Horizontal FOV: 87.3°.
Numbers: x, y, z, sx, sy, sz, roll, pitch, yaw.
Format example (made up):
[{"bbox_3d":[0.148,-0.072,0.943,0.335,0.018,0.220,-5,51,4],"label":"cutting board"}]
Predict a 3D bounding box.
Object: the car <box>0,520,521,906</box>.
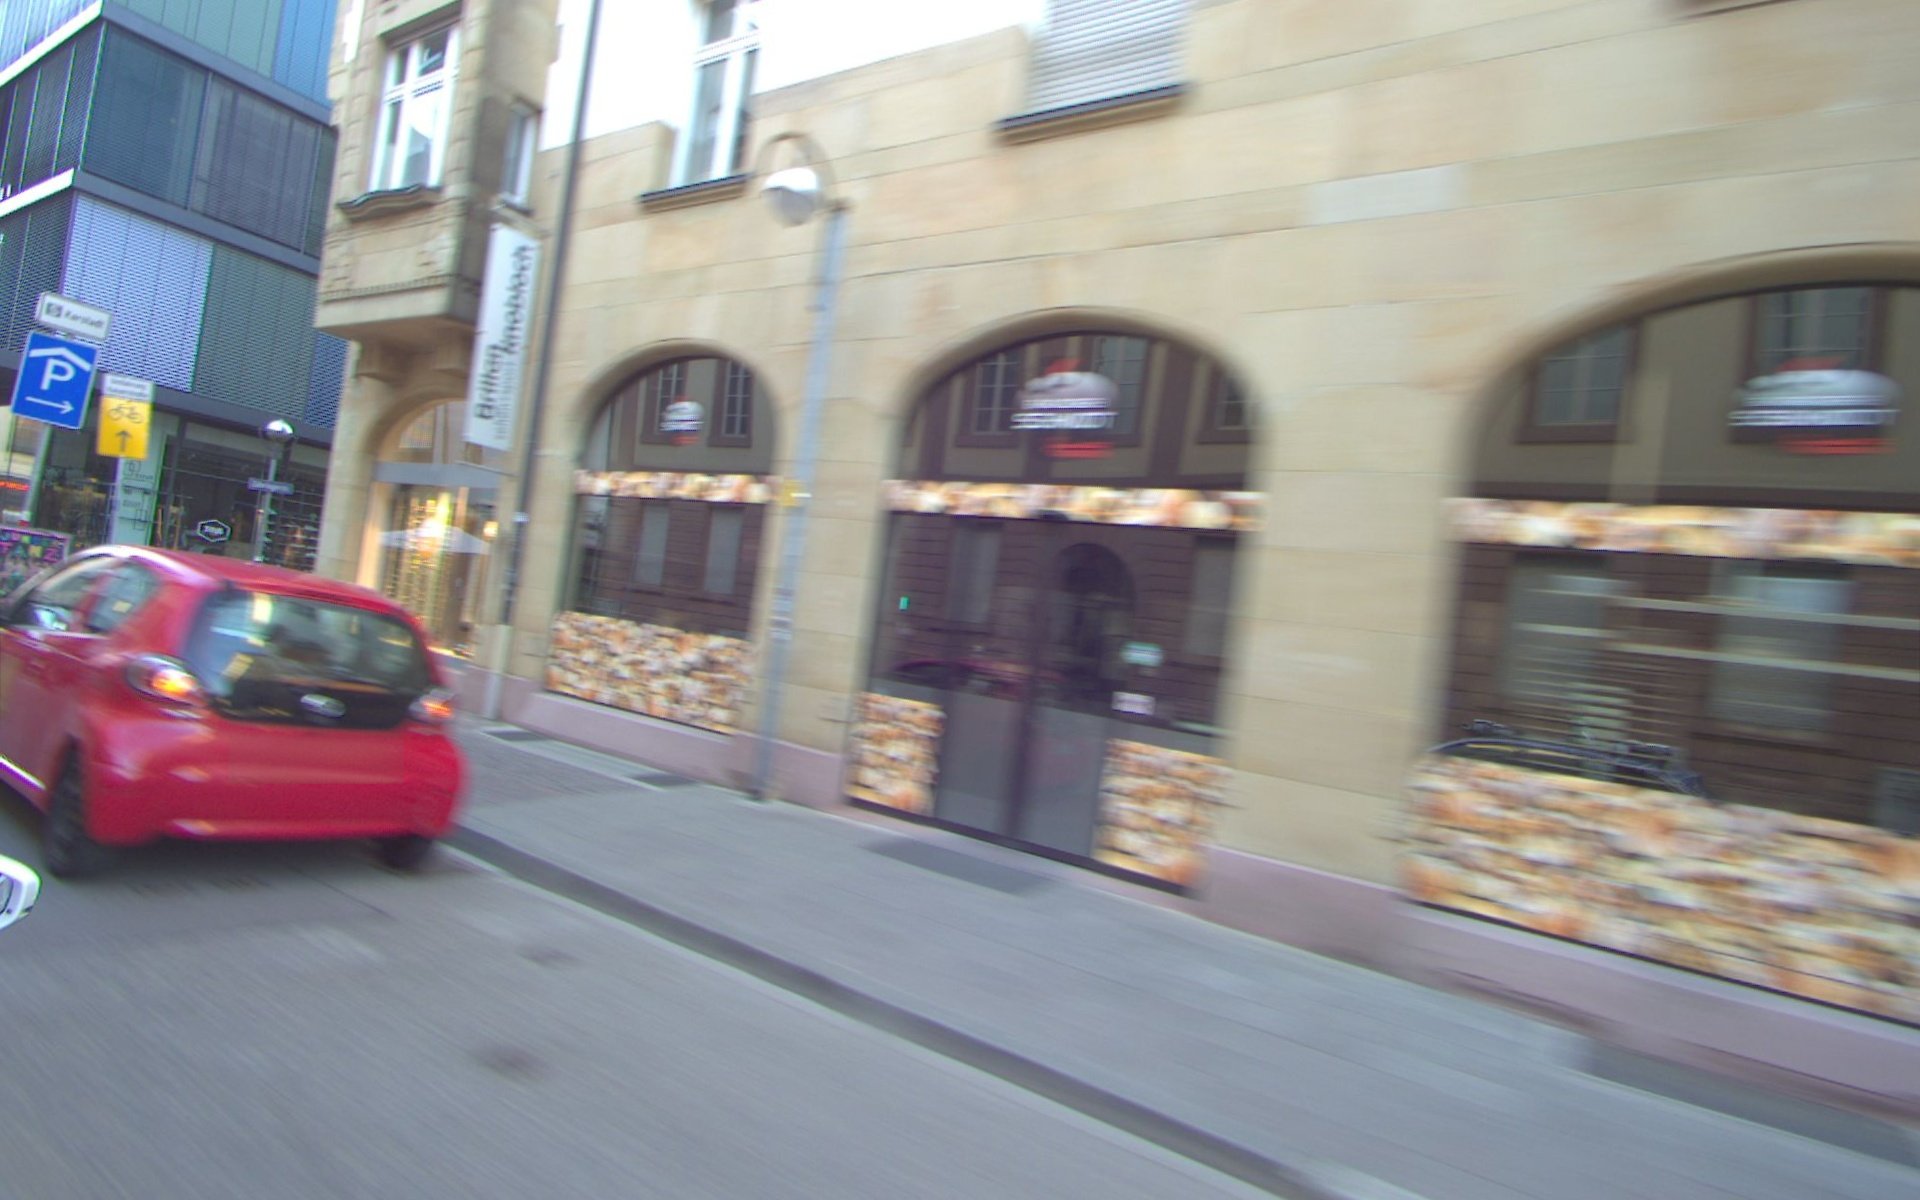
[{"bbox_3d":[-4.325,0.480,5.642,3.540,1.438,1.619,6,-7,35],"label":"car"}]
